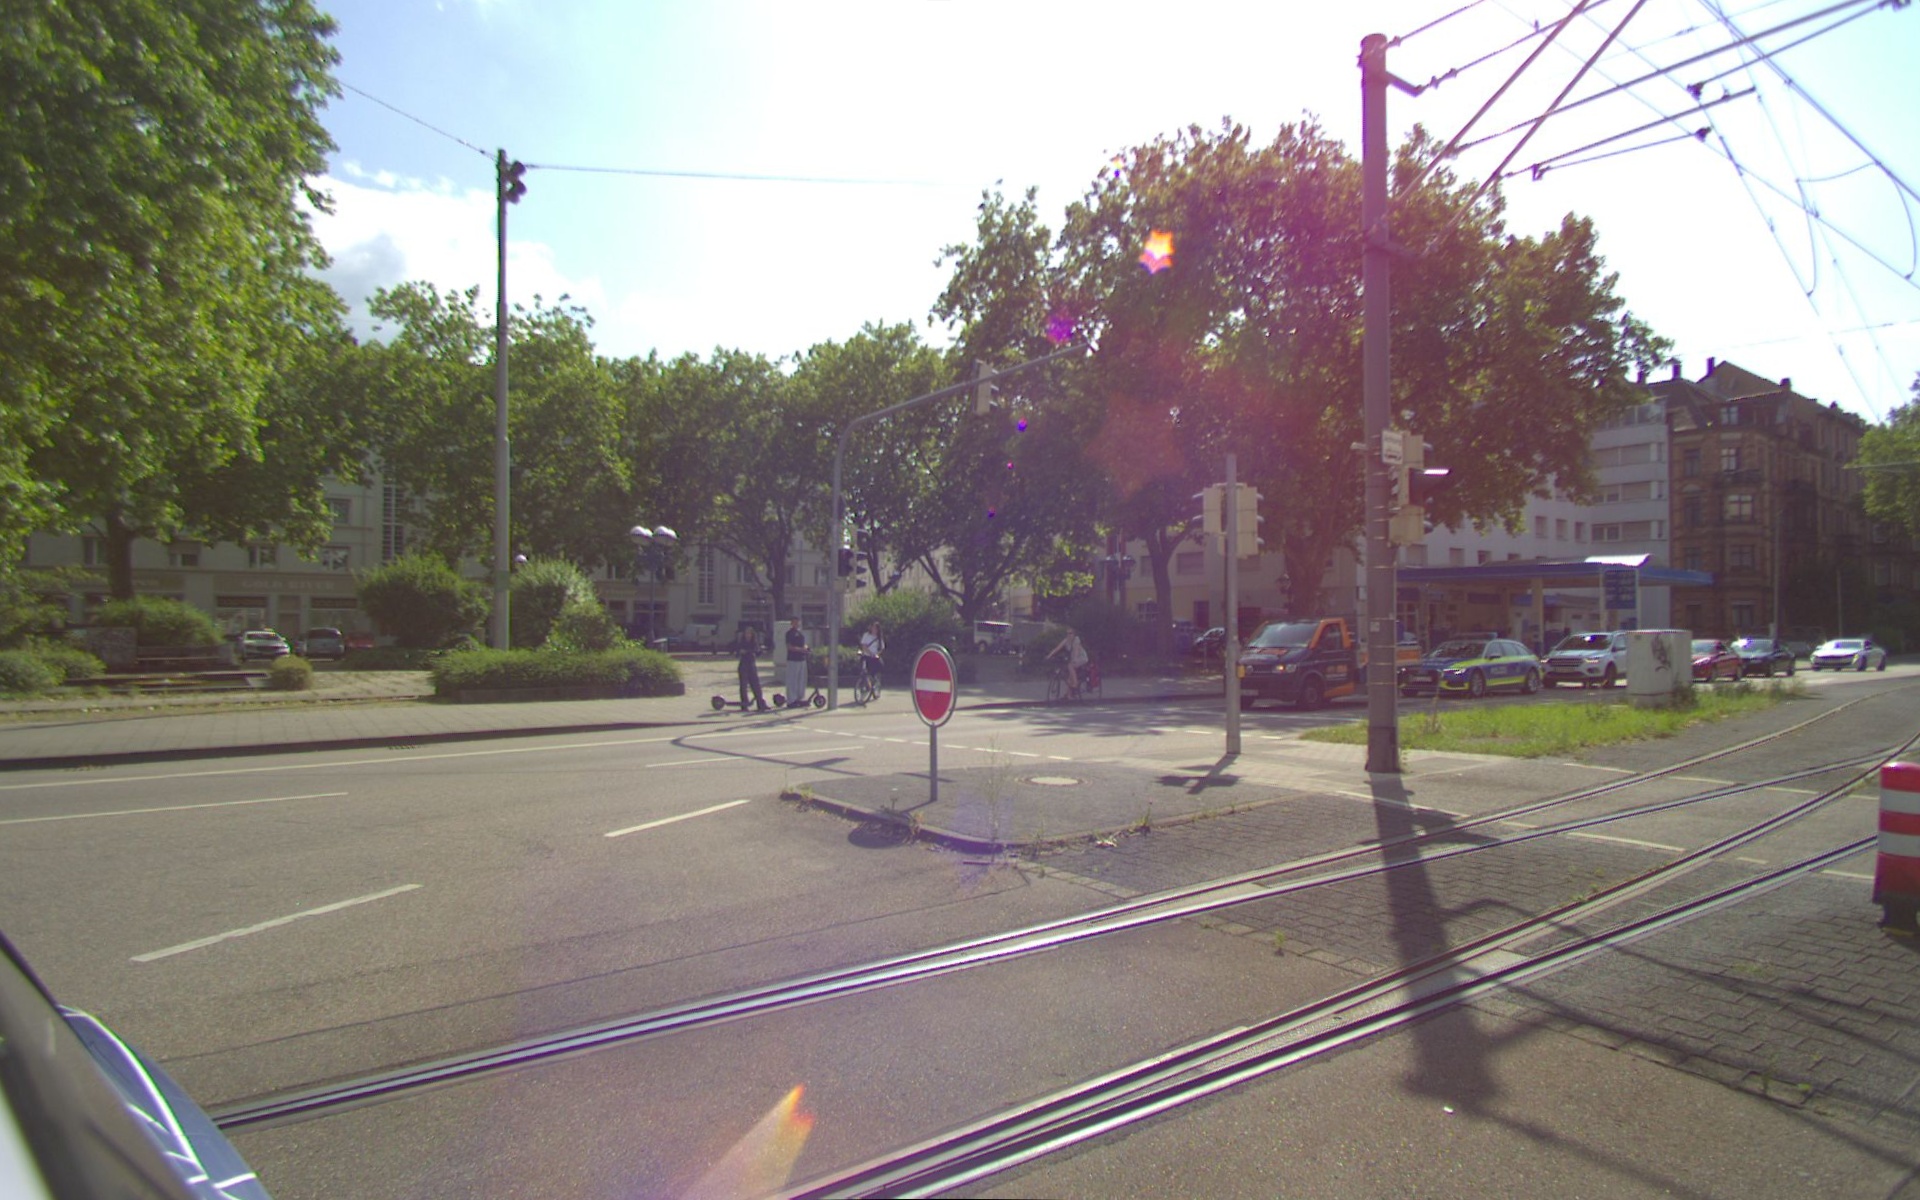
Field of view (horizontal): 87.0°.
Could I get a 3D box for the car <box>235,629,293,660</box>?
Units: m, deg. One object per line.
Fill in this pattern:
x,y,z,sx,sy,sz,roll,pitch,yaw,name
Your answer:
-33.511,2.107,48.710,1.840,1.364,3.949,1,-2,-41,car

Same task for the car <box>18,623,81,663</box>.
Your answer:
-39.766,1.839,44.270,1.822,1.672,4.091,2,-2,-39,car

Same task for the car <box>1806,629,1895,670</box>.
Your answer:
39.625,2.142,44.980,4.993,1.619,1.958,-1,-1,-37,car

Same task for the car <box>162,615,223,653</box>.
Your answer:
-35.973,1.576,47.391,1.969,1.697,4.006,1,-2,-41,car

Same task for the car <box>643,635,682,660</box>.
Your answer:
-20.975,3.340,71.268,1.900,1.680,3.747,1,-4,-29,car

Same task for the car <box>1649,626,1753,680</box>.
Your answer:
25.110,1.749,34.256,4.076,1.619,1.722,-1,-1,-37,car

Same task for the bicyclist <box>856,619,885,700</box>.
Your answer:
-1.909,1.260,21.643,0.500,1.681,0.583,1,1,3,bicyclist

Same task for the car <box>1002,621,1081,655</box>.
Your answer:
4.986,2.299,61.663,4.606,1.949,2.004,1,-4,-38,car

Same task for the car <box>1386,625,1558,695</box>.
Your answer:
13.348,1.497,26.261,5.069,1.665,1.877,1,-3,-36,car

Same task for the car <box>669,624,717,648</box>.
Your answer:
-19.305,2.559,73.018,1.822,1.672,4.091,2,-2,-39,car

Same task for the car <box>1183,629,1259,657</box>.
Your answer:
12.949,2.138,50.157,3.935,1.304,1.481,1,-4,-38,car

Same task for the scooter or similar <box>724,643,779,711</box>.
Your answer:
-4.026,1.468,19.540,0.874,1.235,0.539,1,0,32,scooter or similar

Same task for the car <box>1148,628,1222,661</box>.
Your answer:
11.711,2.297,52.581,3.935,1.616,1.534,1,-3,-38,car

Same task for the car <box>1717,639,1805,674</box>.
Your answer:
29.983,2.073,37.850,3.573,1.198,1.626,1,-2,-35,car

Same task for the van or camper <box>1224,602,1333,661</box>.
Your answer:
15.232,1.521,48.329,5.260,2.662,2.114,1,-4,-35,van or camper

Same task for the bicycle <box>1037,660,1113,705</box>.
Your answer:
2.536,1.792,22.213,1.687,0.928,0.472,1,-2,-28,bicycle

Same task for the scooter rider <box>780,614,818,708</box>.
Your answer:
-3.212,1.208,20.165,0.668,1.824,0.546,1,0,-11,scooter rider

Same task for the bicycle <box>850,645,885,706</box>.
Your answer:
-1.935,1.555,21.210,0.500,1.121,1.630,1,1,2,bicycle

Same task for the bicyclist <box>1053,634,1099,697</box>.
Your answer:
2.555,1.425,22.231,0.894,1.353,0.472,1,-2,-28,bicyclist

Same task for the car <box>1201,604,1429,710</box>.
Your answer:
7.804,1.135,22.036,5.248,2.002,2.086,-1,-1,-37,car

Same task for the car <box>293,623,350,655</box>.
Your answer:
-32.009,1.923,50.681,1.840,1.530,3.949,1,-2,-41,car

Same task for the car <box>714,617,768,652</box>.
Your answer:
-13.701,2.191,63.078,2.217,2.029,3.945,1,-4,-29,car

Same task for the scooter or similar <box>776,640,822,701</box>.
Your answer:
-3.206,1.399,20.165,0.862,1.180,0.546,1,0,-11,scooter or similar

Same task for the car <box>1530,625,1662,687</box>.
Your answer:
19.092,1.627,30.314,4.603,1.619,1.769,-1,-1,-37,car

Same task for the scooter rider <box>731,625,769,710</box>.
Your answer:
-4.054,1.294,19.561,0.436,1.605,0.539,1,0,31,scooter rider

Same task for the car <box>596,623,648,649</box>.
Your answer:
-23.294,2.456,69.663,2.049,1.672,4.091,2,-2,-39,car

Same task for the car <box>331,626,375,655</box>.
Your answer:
-36.346,2.383,60.559,1.821,1.672,4.092,2,-2,-38,car
